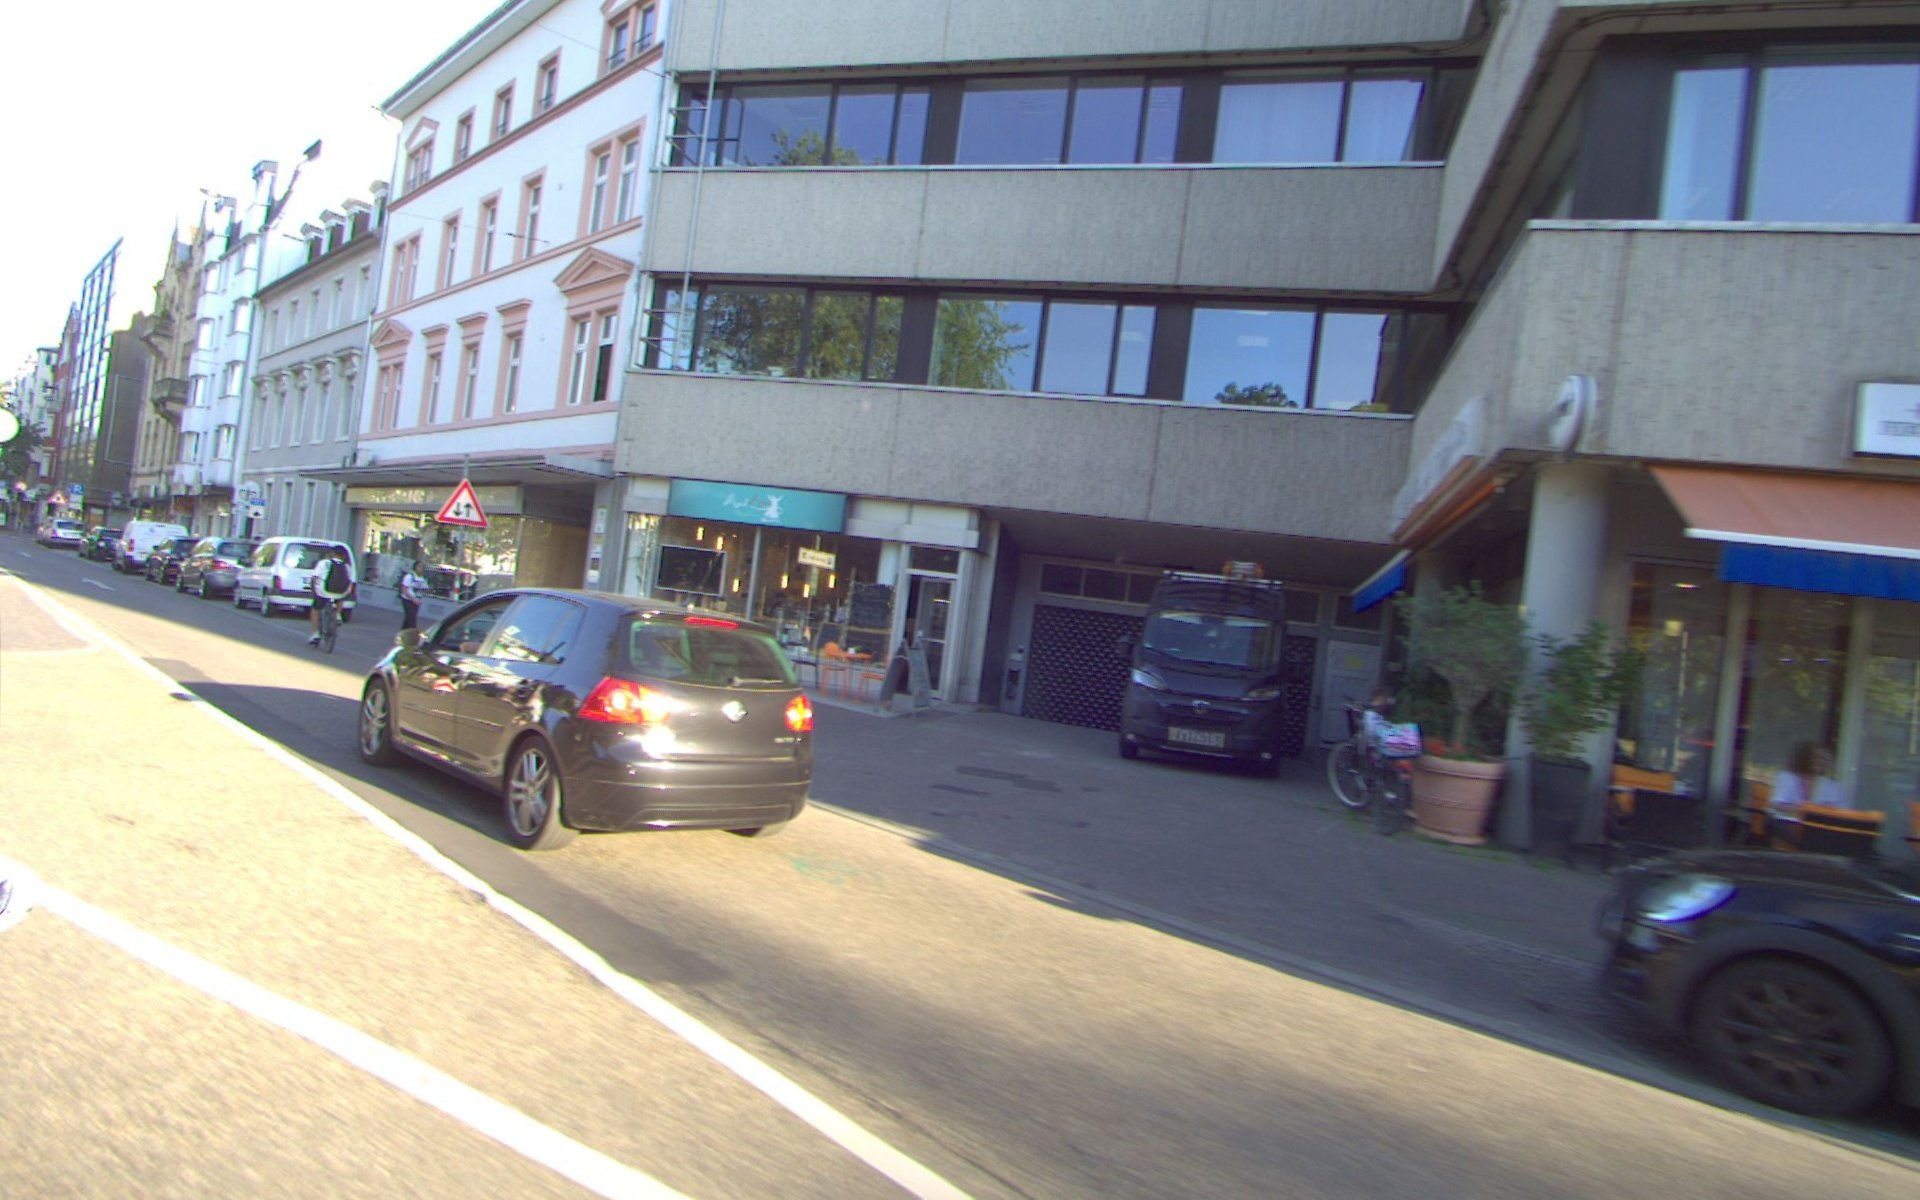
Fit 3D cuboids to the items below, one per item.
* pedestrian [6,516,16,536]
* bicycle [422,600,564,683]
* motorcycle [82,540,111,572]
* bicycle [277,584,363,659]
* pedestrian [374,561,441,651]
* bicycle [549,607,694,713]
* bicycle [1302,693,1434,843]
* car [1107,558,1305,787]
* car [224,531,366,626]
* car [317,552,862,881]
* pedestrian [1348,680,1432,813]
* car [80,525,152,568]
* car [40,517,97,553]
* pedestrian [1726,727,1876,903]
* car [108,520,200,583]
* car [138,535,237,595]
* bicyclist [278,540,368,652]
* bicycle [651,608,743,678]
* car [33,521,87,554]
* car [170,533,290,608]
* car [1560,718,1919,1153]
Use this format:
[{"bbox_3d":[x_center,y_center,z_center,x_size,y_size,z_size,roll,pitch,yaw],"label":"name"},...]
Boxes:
[{"bbox_3d":[-97.351,-7.593,103.220,0.534,1.945,0.530,6,-2,41],"label":"pedestrian"},{"bbox_3d":[-7.127,0.636,15.442,1.825,1.059,0.578,6,1,-18],"label":"bicycle"},{"bbox_3d":[-35.265,-1.803,41.069,1.582,1.189,0.486,7,1,36],"label":"motorcycle"},{"bbox_3d":[-10.353,0.328,16.245,1.909,0.998,0.578,5,-3,43],"label":"bicycle"},{"bbox_3d":[-10.301,0.114,18.766,0.725,1.573,0.631,6,-1,28],"label":"pedestrian"},{"bbox_3d":[-4.193,0.744,12.556,1.581,1.133,0.610,6,1,-15],"label":"bicycle"},{"bbox_3d":[3.941,1.577,9.866,0.524,1.133,1.815,6,0,3],"label":"bicycle"},{"bbox_3d":[3.641,0.960,14.445,2.052,2.472,5.336,6,-1,17],"label":"car"},{"bbox_3d":[-15.356,-0.522,23.164,3.864,1.822,1.731,5,-1,43],"label":"car"},{"bbox_3d":[-2.760,0.615,6.987,4.047,1.477,1.746,6,-3,42],"label":"car"},{"bbox_3d":[4.612,1.556,10.825,0.640,1.297,0.554,6,0,15],"label":"pedestrian"},{"bbox_3d":[-36.918,-2.368,43.971,3.920,1.529,1.749,5,-1,41],"label":"car"},{"bbox_3d":[-46.898,-3.425,52.882,3.496,1.529,1.749,5,-1,41],"label":"car"},{"bbox_3d":[7.131,1.797,8.567,0.649,1.297,0.653,6,0,12],"label":"pedestrian"},{"bbox_3d":[-28.261,-1.730,35.232,3.965,1.863,1.921,5,-1,44],"label":"car"},{"bbox_3d":[-23.723,-1.084,30.861,3.537,1.480,1.731,5,-1,42],"label":"car"},{"bbox_3d":[-10.214,-0.070,16.134,1.011,1.636,0.776,6,-3,42],"label":"bicyclist"},{"bbox_3d":[-4.854,0.788,18.640,1.495,1.134,0.515,5,1,-1],"label":"bicycle"},{"bbox_3d":[-49.770,-3.452,55.619,3.496,1.529,1.749,5,-1,41],"label":"car"},{"bbox_3d":[-19.363,-0.808,26.640,3.864,1.636,1.731,5,-1,43],"label":"car"},{"bbox_3d":[4.790,1.504,4.062,3.768,1.459,1.660,6,0,40],"label":"car"}]
